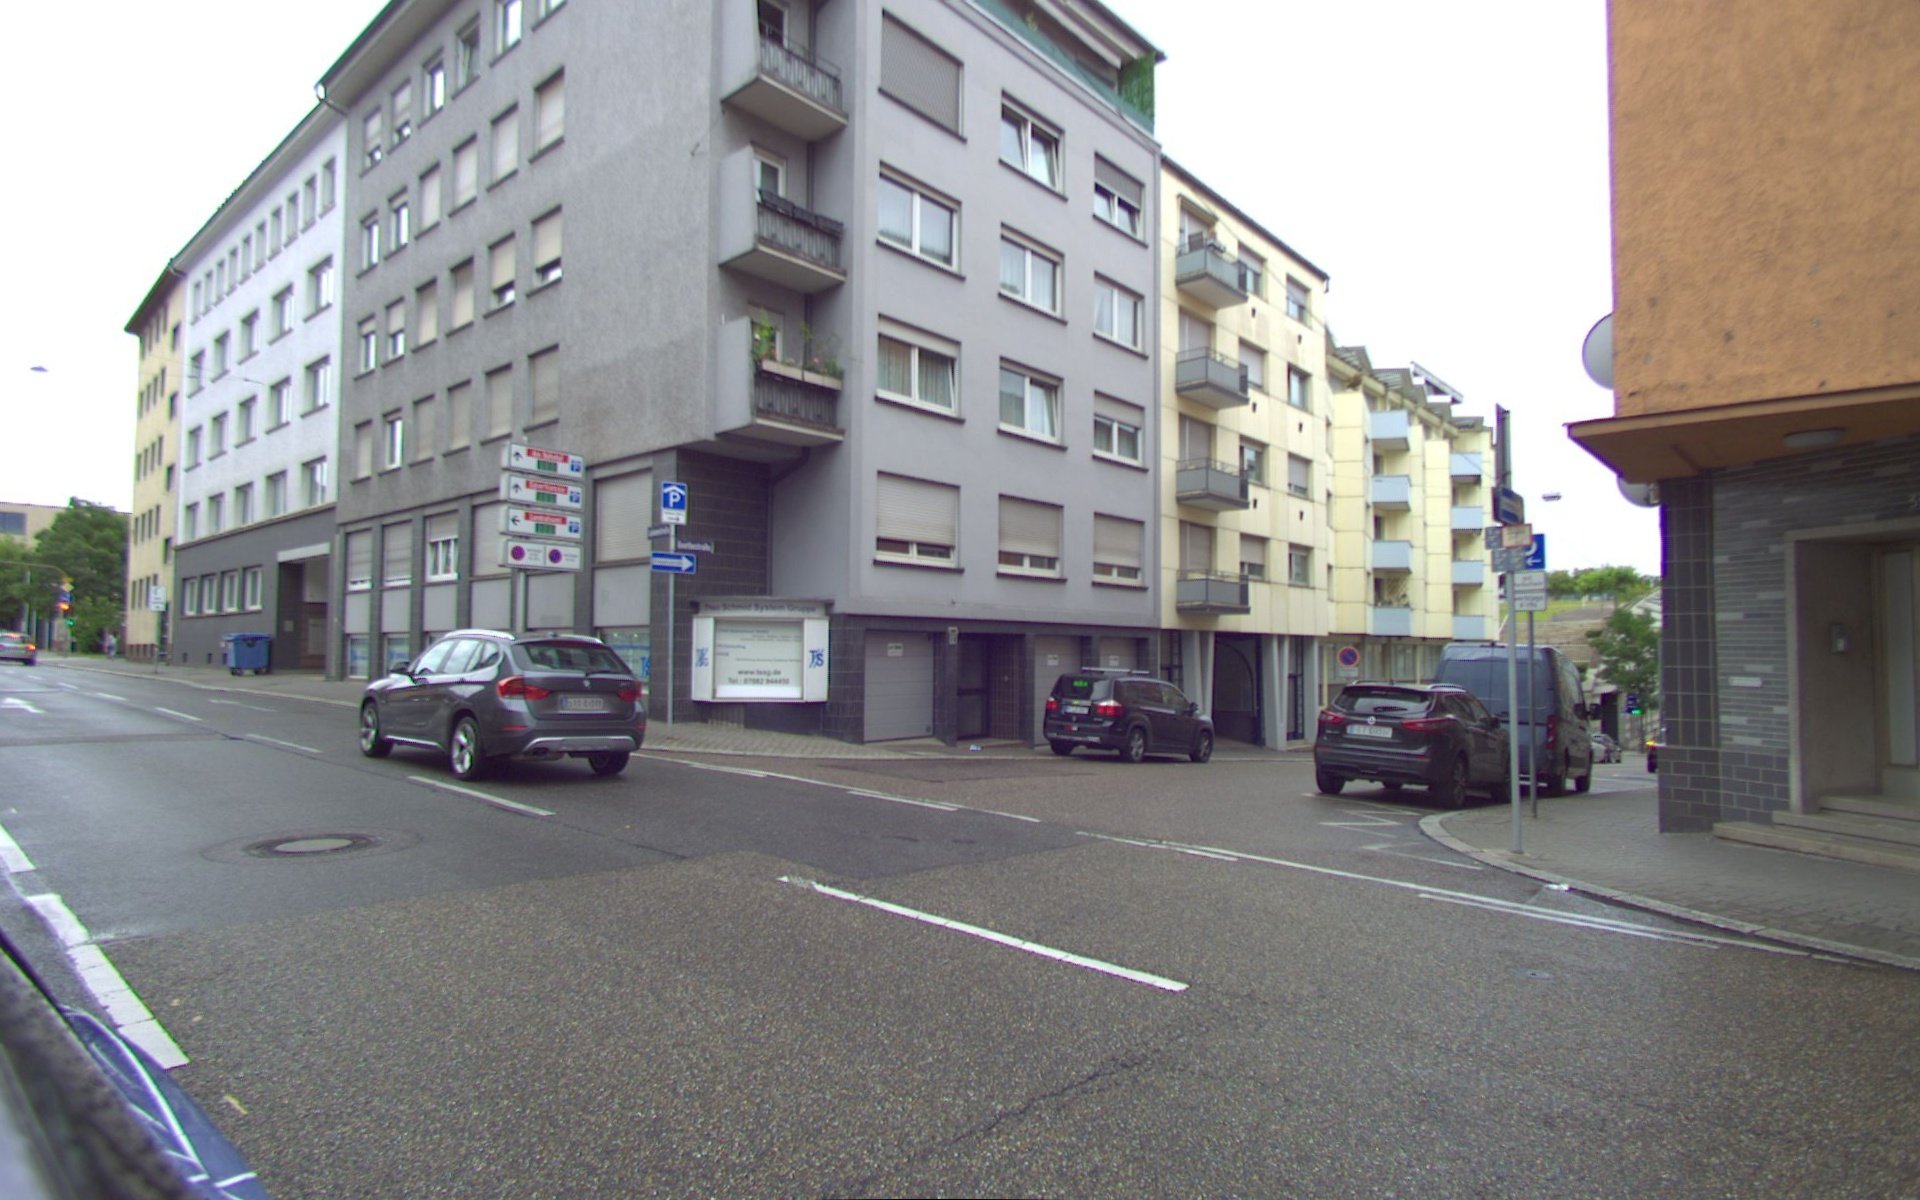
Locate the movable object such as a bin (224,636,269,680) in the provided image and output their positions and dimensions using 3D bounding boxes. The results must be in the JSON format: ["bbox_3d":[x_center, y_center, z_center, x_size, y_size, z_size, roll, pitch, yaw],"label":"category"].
[{"bbox_3d":[-22.859,1.842,32.417,1.096,1.343,0.933,-1,0,41],"label":"movable object such as a bin"}]

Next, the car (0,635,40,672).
[{"bbox_3d":[-43.988,2.453,46.614,4.371,1.602,1.858,-1,-3,41],"label":"car"}]

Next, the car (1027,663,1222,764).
[{"bbox_3d":[3.344,2.272,19.909,1.794,1.700,4.186,-1,-8,41],"label":"car"}]

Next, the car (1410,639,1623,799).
[{"bbox_3d":[10.523,2.214,18.839,2.249,2.480,5.975,-1,-7,41],"label":"car"}]

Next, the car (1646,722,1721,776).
[{"bbox_3d":[25.905,5.348,36.187,1.817,1.688,3.998,-1,-8,41],"label":"car"}]

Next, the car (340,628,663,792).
[{"bbox_3d":[-5.314,1.130,11.502,4.157,1.519,1.685,-1,-5,41],"label":"car"}]

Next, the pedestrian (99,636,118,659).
[{"bbox_3d":[-43.650,2.433,51.894,0.573,1.158,0.408,4,-5,-29],"label":"pedestrian"}]

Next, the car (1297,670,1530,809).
[{"bbox_3d":[6.446,1.945,14.127,1.842,1.589,4.098,-1,-8,41],"label":"car"}]
